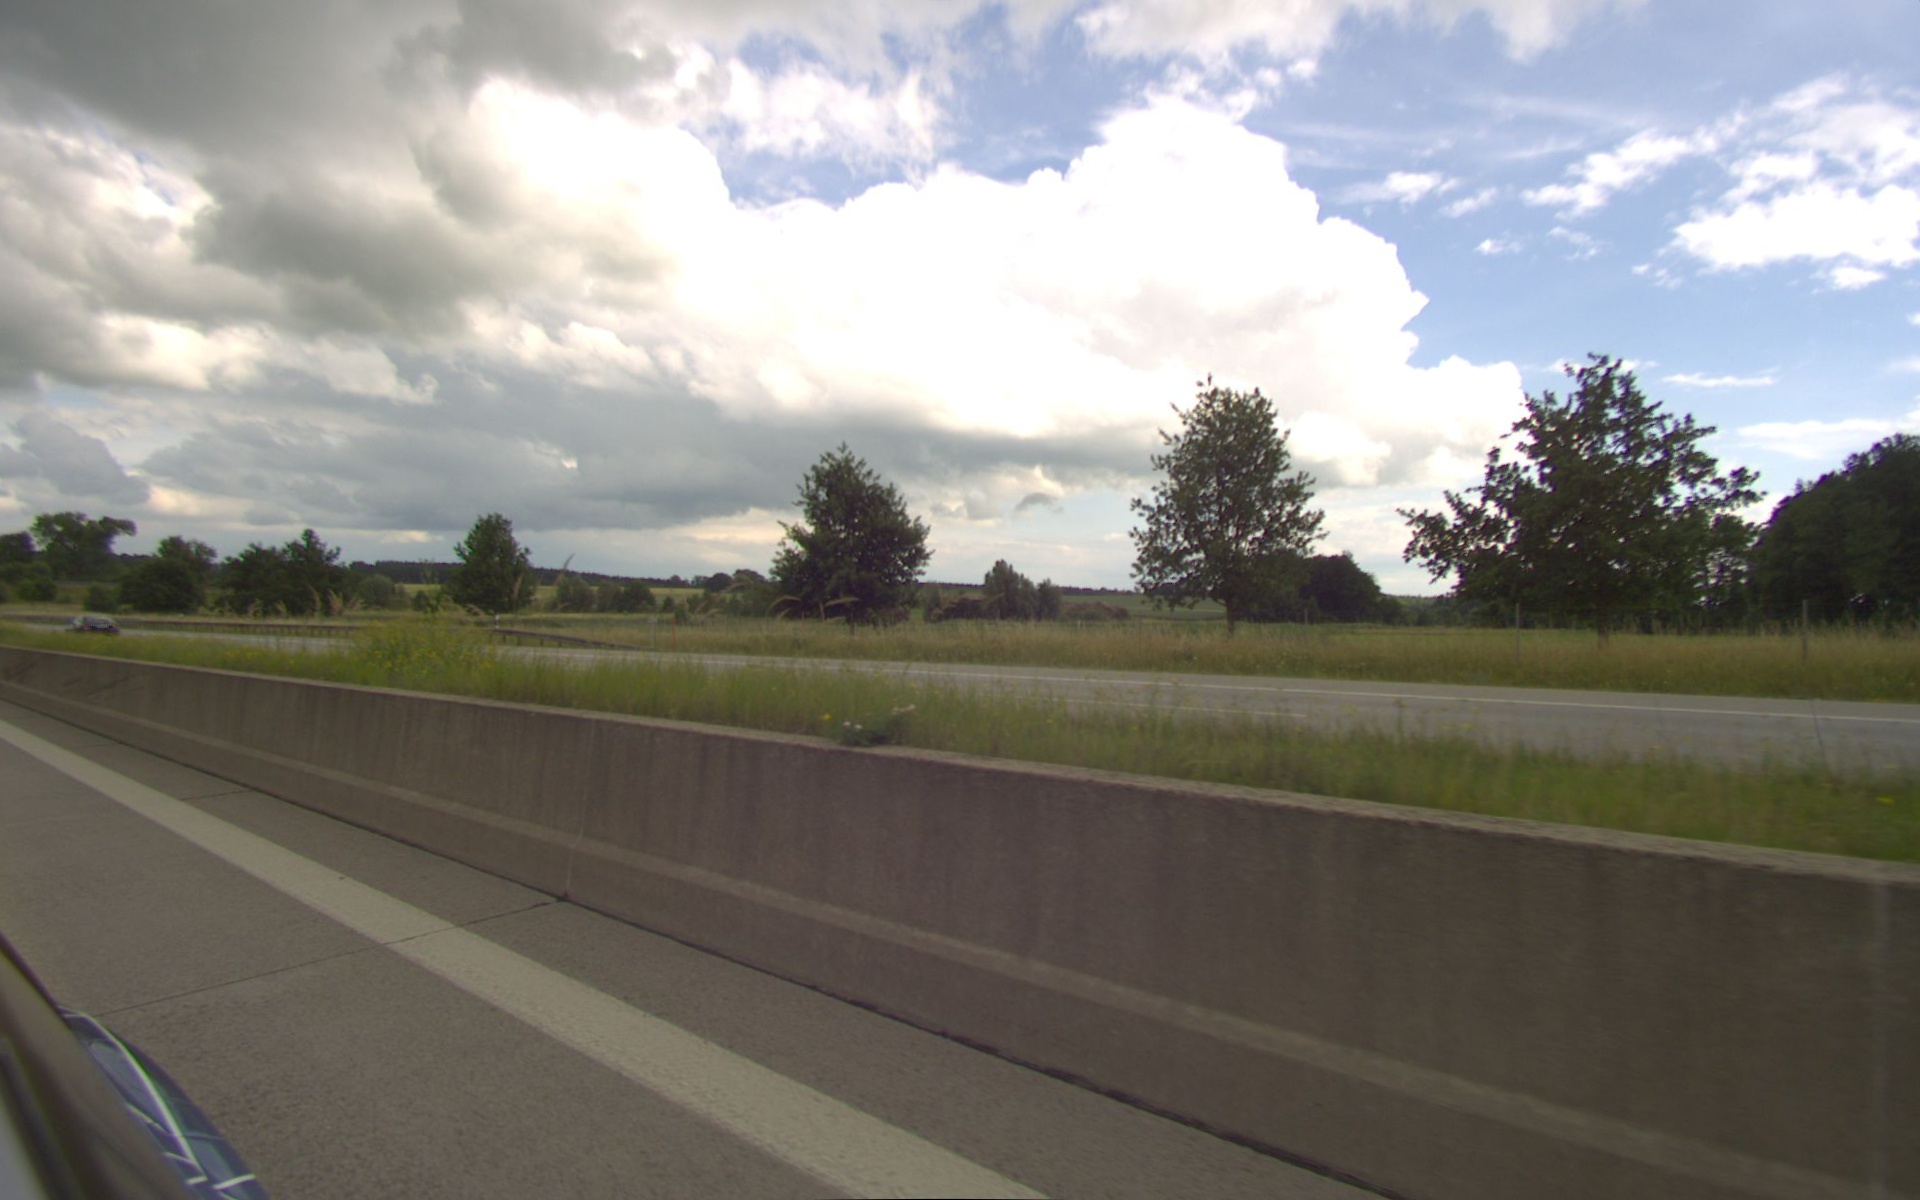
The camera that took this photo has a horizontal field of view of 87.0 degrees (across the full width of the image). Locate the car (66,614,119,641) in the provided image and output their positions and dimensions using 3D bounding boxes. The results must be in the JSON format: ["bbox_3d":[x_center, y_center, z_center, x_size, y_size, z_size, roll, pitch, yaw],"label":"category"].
[{"bbox_3d":[-47.774,1.513,55.691,4.096,1.384,1.624,0,0,41],"label":"car"}]
